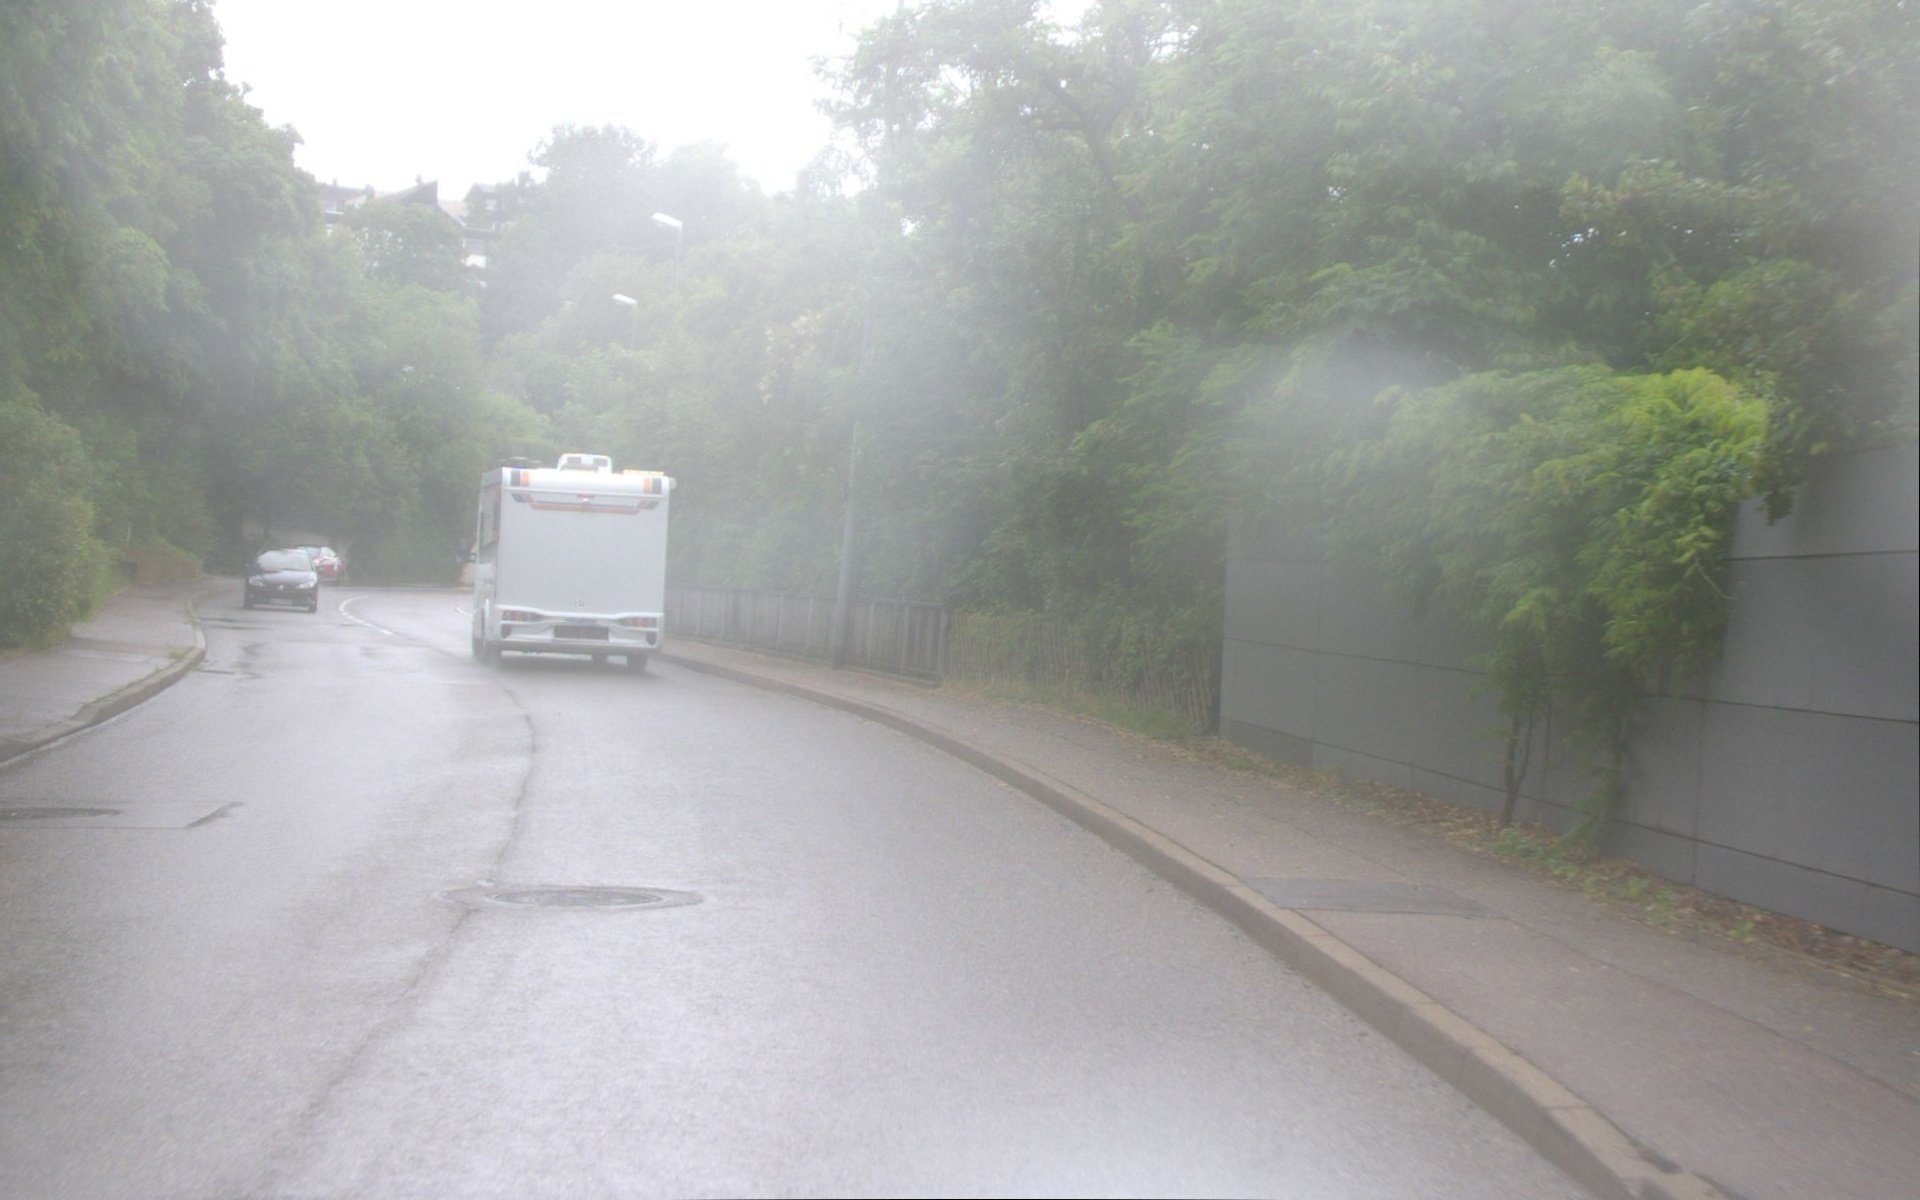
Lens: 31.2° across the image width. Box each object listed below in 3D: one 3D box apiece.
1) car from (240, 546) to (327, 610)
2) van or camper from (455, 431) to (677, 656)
[{"bbox_3d":[-15.496,-0.507,78.841,1.650,1.380,3.530,2,0,-7],"label":"car"},{"bbox_3d":[-5.553,-0.718,47.723,2.539,2.915,5.949,0,0,-12],"label":"van or camper"}]
